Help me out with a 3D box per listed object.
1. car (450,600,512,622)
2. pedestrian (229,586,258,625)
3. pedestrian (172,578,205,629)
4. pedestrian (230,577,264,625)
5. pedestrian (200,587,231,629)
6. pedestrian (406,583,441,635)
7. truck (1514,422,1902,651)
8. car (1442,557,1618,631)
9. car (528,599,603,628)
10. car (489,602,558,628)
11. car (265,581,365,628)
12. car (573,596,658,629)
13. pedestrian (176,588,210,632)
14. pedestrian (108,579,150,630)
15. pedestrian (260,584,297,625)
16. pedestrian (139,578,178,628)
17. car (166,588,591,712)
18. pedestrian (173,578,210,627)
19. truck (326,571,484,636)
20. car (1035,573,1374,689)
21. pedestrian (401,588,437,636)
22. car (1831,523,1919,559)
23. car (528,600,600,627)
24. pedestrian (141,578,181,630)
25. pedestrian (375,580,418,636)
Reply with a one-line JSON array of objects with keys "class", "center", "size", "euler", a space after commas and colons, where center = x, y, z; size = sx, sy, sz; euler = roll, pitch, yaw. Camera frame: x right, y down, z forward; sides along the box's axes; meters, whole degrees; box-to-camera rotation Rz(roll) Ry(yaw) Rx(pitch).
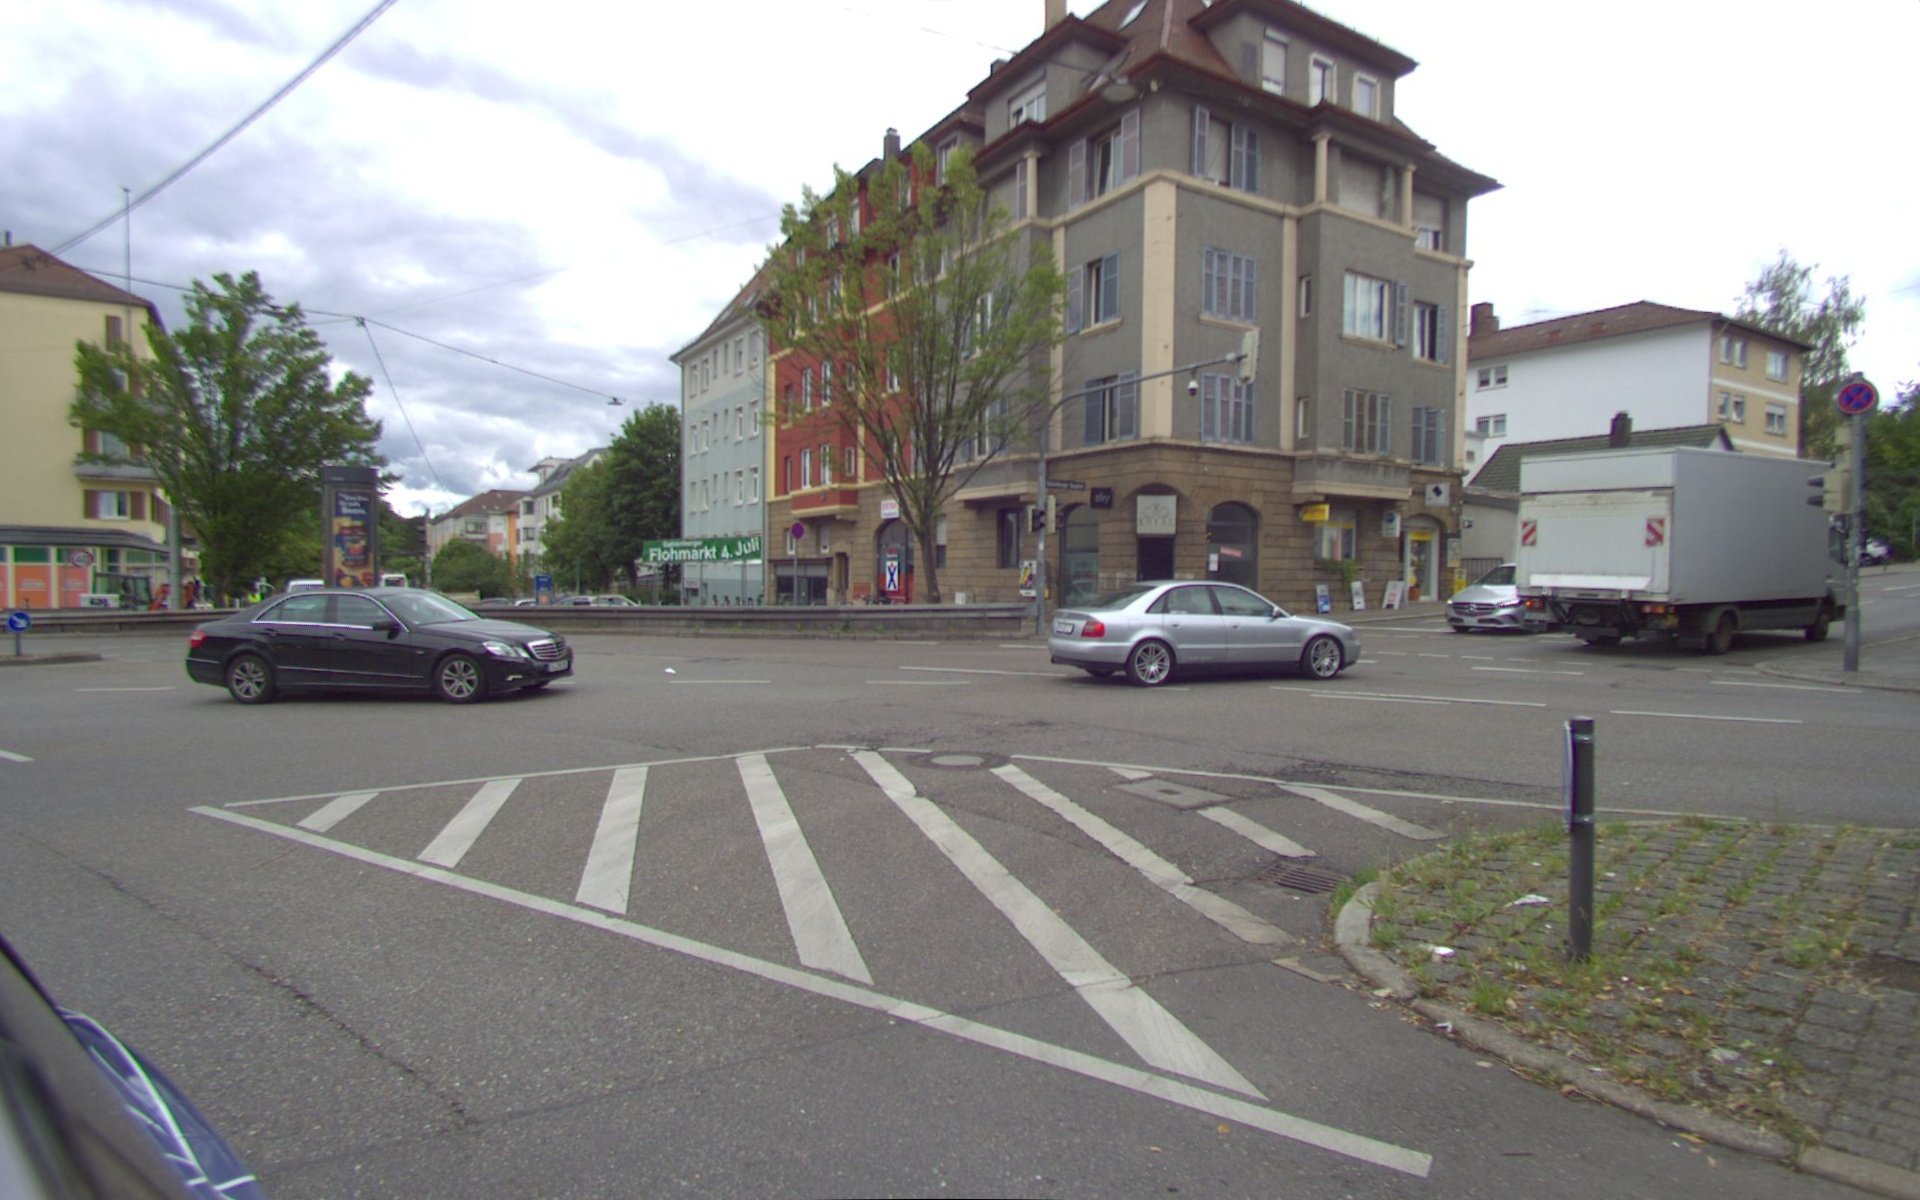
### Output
[{"class": "car", "center": [-36.604, 0.832, 77.456], "size": [3.874, 1.610, 1.895], "euler": [-1, 2, -4]}, {"class": "pedestrian", "center": [-31.163, 0.230, 44.027], "size": [0.853, 1.631, 1.216], "euler": [-2, 2, -29]}, {"class": "pedestrian", "center": [-24.979, 0.106, 32.775], "size": [0.549, 1.631, 0.603], "euler": [0, 2, 13]}, {"class": "pedestrian", "center": [-24.846, 0.025, 35.270], "size": [0.759, 1.631, 0.652], "euler": [-1, 2, -14]}, {"class": "pedestrian", "center": [-30.236, 0.311, 41.091], "size": [0.853, 1.631, 0.921], "euler": [-2, 2, -29]}, {"class": "pedestrian", "center": [-15.165, 0.248, 28.631], "size": [0.596, 1.443, 0.602], "euler": [0, 2, 15]}, {"class": "truck", "center": [14.338, -1.142, 19.196], "size": [8.369, 3.601, 2.719], "euler": [-2, 2, -29]}, {"class": "car", "center": [12.668, -0.188, 22.433], "size": [3.985, 1.484, 1.657], "euler": [-2, 2, -31]}, {"class": "car", "center": [-24.110, 0.803, 62.012], "size": [3.874, 1.610, 1.895], "euler": [-1, 2, -4]}, {"class": "car", "center": [-29.747, 0.995, 69.025], "size": [3.874, 1.610, 1.895], "euler": [-1, 2, -4]}, {"class": "car", "center": [-24.221, 0.108, 38.205], "size": [2.174, 1.583, 4.492], "euler": [-1, 2, -19]}, {"class": "car", "center": [-18.487, 0.664, 54.436], "size": [3.882, 1.610, 1.891], "euler": [-1, 2, 4]}, {"class": "pedestrian", "center": [-29.432, 0.372, 38.840], "size": [0.853, 1.631, 0.921], "euler": [-2, 2, -29]}, {"class": "pedestrian", "center": [-26.884, 0.131, 32.750], "size": [0.642, 1.631, 0.771], "euler": [-1, 2, 6]}, {"class": "pedestrian", "center": [-33.306, 0.205, 49.457], "size": [1.260, 1.973, 0.921], "euler": [0, 2, 25]}, {"class": "pedestrian", "center": [-26.924, 0.092, 34.014], "size": [0.643, 1.631, 0.770], "euler": [0, 2, 11]}, {"class": "car", "center": [-7.482, 0.603, 13.233], "size": [4.684, 1.430, 1.837], "euler": [0, 2, 9]}, {"class": "pedestrian", "center": [-25.904, 0.076, 34.111], "size": [0.648, 1.631, 0.764], "euler": [0, 2, 31]}, {"class": "truck", "center": [-25.385, 0.184, 46.694], "size": [2.746, 2.744, 6.425], "euler": [-1, -1, 14]}, {"class": "car", "center": [3.304, 0.348, 13.886], "size": [4.196, 1.352, 1.712], "euler": [-2, 2, -14]}, {"class": "pedestrian", "center": [-15.581, 0.341, 29.147], "size": [0.623, 1.351, 0.661], "euler": [0, 2, 15]}, {"class": "car", "center": [51.544, -3.256, 56.643], "size": [1.830, 1.902, 4.019], "euler": [-2, 2, -42]}, {"class": "car", "center": [-25.213, 0.833, 64.601], "size": [3.874, 1.610, 1.895], "euler": [-1, 2, -4]}, {"class": "pedestrian", "center": [-25.926, 0.116, 32.836], "size": [0.760, 1.631, 0.651], "euler": [-1, 2, -10]}, {"class": "pedestrian", "center": [-16.338, 0.221, 29.366], "size": [0.795, 1.595, 0.703], "euler": [0, 2, 15]}]
